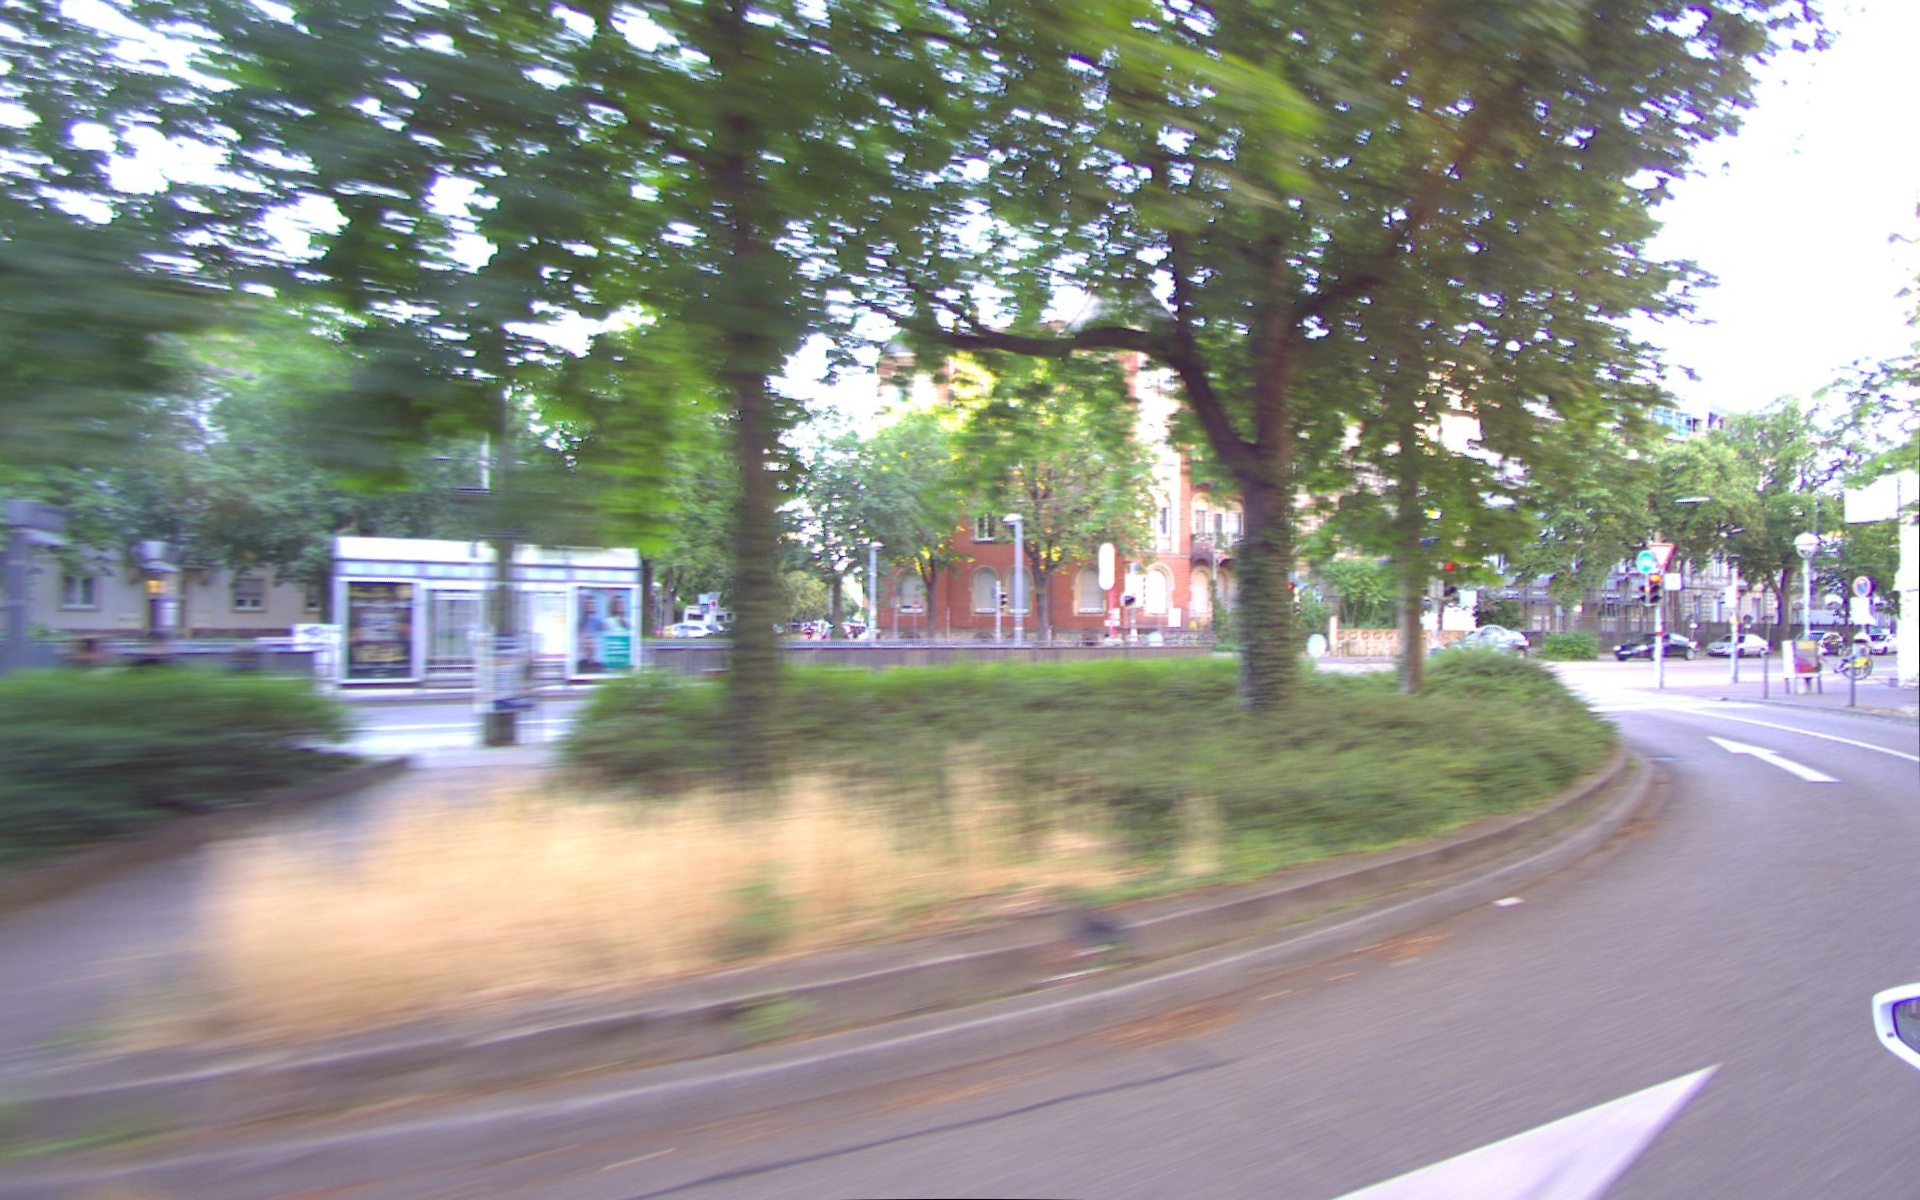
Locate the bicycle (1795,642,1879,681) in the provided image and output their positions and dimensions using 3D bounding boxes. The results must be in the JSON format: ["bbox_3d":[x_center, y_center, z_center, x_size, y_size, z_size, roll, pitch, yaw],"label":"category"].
[{"bbox_3d":[27.272,1.895,31.280,1.844,1.145,0.730,0,-1,28],"label":"bicycle"}]

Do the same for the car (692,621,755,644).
[{"bbox_3d":[-19.437,2.681,82.864,4.877,1.726,1.997,2,-2,-10],"label":"car"}]

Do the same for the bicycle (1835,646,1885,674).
[{"bbox_3d":[35.684,2.364,39.821,1.765,1.069,0.697,1,-1,-19],"label":"bicycle"}]

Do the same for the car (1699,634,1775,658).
[{"bbox_3d":[48.081,2.840,62.160,4.573,1.445,1.996,1,-2,-28],"label":"car"}]

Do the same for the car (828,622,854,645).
[{"bbox_3d":[-9.309,2.608,78.682,1.963,1.726,4.716,2,-2,-6],"label":"car"}]

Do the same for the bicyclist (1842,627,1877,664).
[{"bbox_3d":[35.675,1.801,39.835,0.851,1.430,0.697,1,-1,-19],"label":"bicyclist"}]

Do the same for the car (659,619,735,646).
[{"bbox_3d":[-18.266,2.273,70.032,4.877,1.726,1.997,2,-2,-10],"label":"car"}]

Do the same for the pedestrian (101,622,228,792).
[{"bbox_3d":[-7.060,0.925,8.943,0.606,1.450,0.655,1,-1,-4],"label":"pedestrian"}]

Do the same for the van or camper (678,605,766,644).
[{"bbox_3d":[-20.786,2.125,87.998,7.256,3.123,2.669,2,-1,-10],"label":"van or camper"}]

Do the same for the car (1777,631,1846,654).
[{"bbox_3d":[56.871,2.806,67.080,4.110,1.502,1.939,1,-1,-24],"label":"car"}]

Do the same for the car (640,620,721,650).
[{"bbox_3d":[-18.141,2.279,65.419,4.877,1.726,1.997,2,-2,-10],"label":"car"}]

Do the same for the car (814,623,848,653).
[{"bbox_3d":[-7.965,2.308,62.399,1.963,1.726,4.716,2,-2,-6],"label":"car"}]

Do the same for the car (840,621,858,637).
[{"bbox_3d":[-12.602,3.251,114.090,1.963,1.726,4.716,2,-2,-6],"label":"car"}]

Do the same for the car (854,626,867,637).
[{"bbox_3d":[-16.753,5.220,168.898,1.963,1.726,4.716,2,-2,-6],"label":"car"}]

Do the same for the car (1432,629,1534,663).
[{"bbox_3d":[24.443,2.143,46.930,4.357,1.530,1.939,1,-1,-24],"label":"car"}]

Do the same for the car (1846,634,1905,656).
[{"bbox_3d":[64.901,3.197,71.214,4.269,1.501,1.935,1,-2,-30],"label":"car"}]

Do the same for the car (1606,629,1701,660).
[{"bbox_3d":[35.801,2.290,51.864,4.567,1.530,1.939,1,-1,-24],"label":"car"}]

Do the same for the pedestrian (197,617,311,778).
[{"bbox_3d":[-6.616,0.893,9.448,0.606,1.450,0.655,1,-1,-4],"label":"pedestrian"}]

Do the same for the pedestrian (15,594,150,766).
[{"bbox_3d":[-7.721,0.686,8.863,0.606,1.450,0.655,1,-1,-4],"label":"pedestrian"}]
